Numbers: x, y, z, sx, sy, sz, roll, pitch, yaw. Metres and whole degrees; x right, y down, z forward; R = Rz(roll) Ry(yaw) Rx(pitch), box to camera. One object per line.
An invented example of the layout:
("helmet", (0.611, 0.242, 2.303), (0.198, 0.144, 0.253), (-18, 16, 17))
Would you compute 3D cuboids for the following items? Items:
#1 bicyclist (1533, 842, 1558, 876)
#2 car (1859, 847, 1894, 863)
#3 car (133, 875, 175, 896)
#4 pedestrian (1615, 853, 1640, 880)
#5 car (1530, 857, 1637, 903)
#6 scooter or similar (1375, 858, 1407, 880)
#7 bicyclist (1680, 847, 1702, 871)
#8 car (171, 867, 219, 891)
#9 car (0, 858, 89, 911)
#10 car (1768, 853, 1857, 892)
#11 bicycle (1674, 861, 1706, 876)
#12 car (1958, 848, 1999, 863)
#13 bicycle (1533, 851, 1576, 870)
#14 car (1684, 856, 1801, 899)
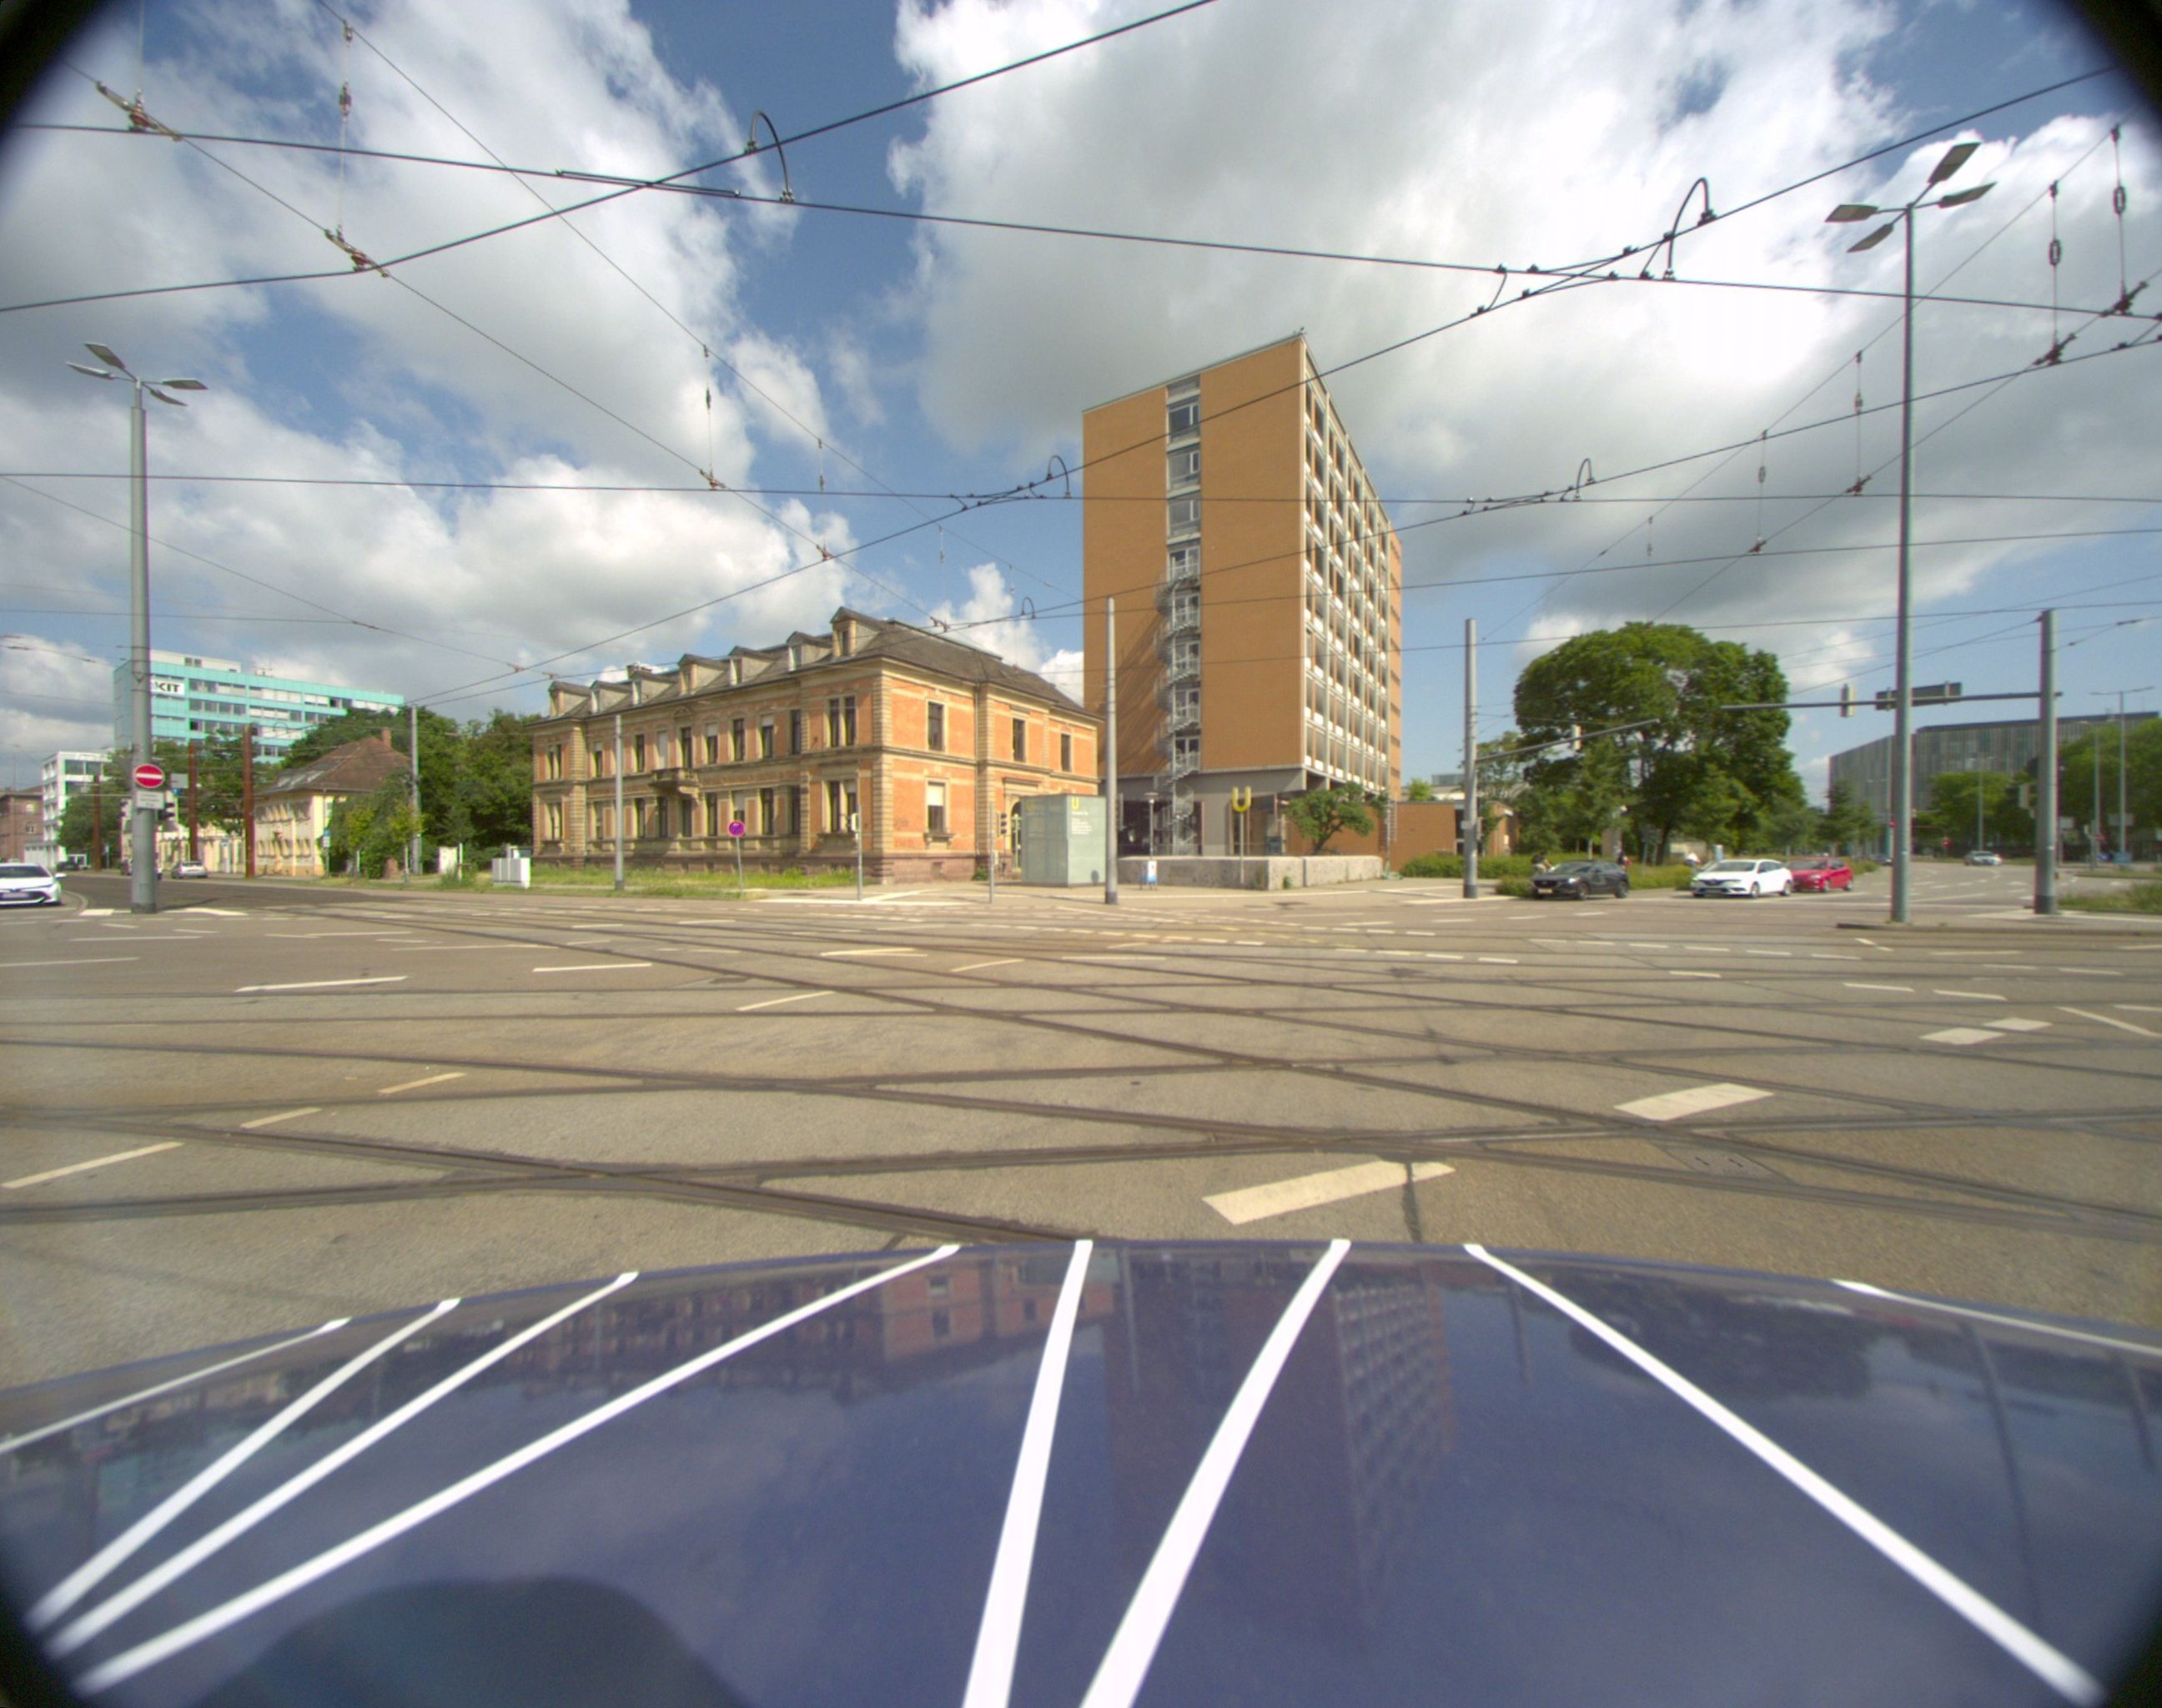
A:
("bicyclist", (22.708, 0.243, 37.141), (0.938, 1.662, 0.578), (-1, 1, -16))
("car", (87.962, 0.060, 84.054), (1.994, 1.745, 4.008), (0, 0, 36))
("car", (-97.764, 3.303, 80.135), (3.990, 2.001, 2.004), (-3, -1, 28))
("pedestrian", (31.454, 0.704, 43.763), (0.955, 1.569, 0.770), (0, 0, 15))
("car", (19.021, 0.953, 28.720), (4.218, 1.567, 1.643), (-1, -1, -31))
("scooter or similar", (17.066, 0.808, 41.799), (1.535, 1.176, 0.435), (1, 1, 7))
("bicyclist", (36.984, 0.316, 46.077), (1.171, 1.449, 0.634), (-1, 0, -28))
("car", (-81.758, 2.297, 70.111), (3.990, 2.001, 2.004), (-3, -1, 28))
("car", (-34.348, 1.032, 24.784), (4.494, 1.586, 1.961), (-3, -1, 43))
("car", (30.671, 0.762, 31.839), (4.071, 1.458, 1.643), (-1, -1, -31))
("bicycle", (36.862, 0.863, 45.989), (2.279, 0.892, 0.651), (-1, 0, -28))
("car", (93.163, 0.147, 78.926), (1.826, 1.516, 4.008), (0, 0, 35))
("bicycle", (23.167, 0.328, 37.201), (1.810, 0.870, 0.760), (0, 3, -16))
("car", (25.041, 0.858, 28.733), (4.681, 1.421, 1.760), (-1, -1, -29))
